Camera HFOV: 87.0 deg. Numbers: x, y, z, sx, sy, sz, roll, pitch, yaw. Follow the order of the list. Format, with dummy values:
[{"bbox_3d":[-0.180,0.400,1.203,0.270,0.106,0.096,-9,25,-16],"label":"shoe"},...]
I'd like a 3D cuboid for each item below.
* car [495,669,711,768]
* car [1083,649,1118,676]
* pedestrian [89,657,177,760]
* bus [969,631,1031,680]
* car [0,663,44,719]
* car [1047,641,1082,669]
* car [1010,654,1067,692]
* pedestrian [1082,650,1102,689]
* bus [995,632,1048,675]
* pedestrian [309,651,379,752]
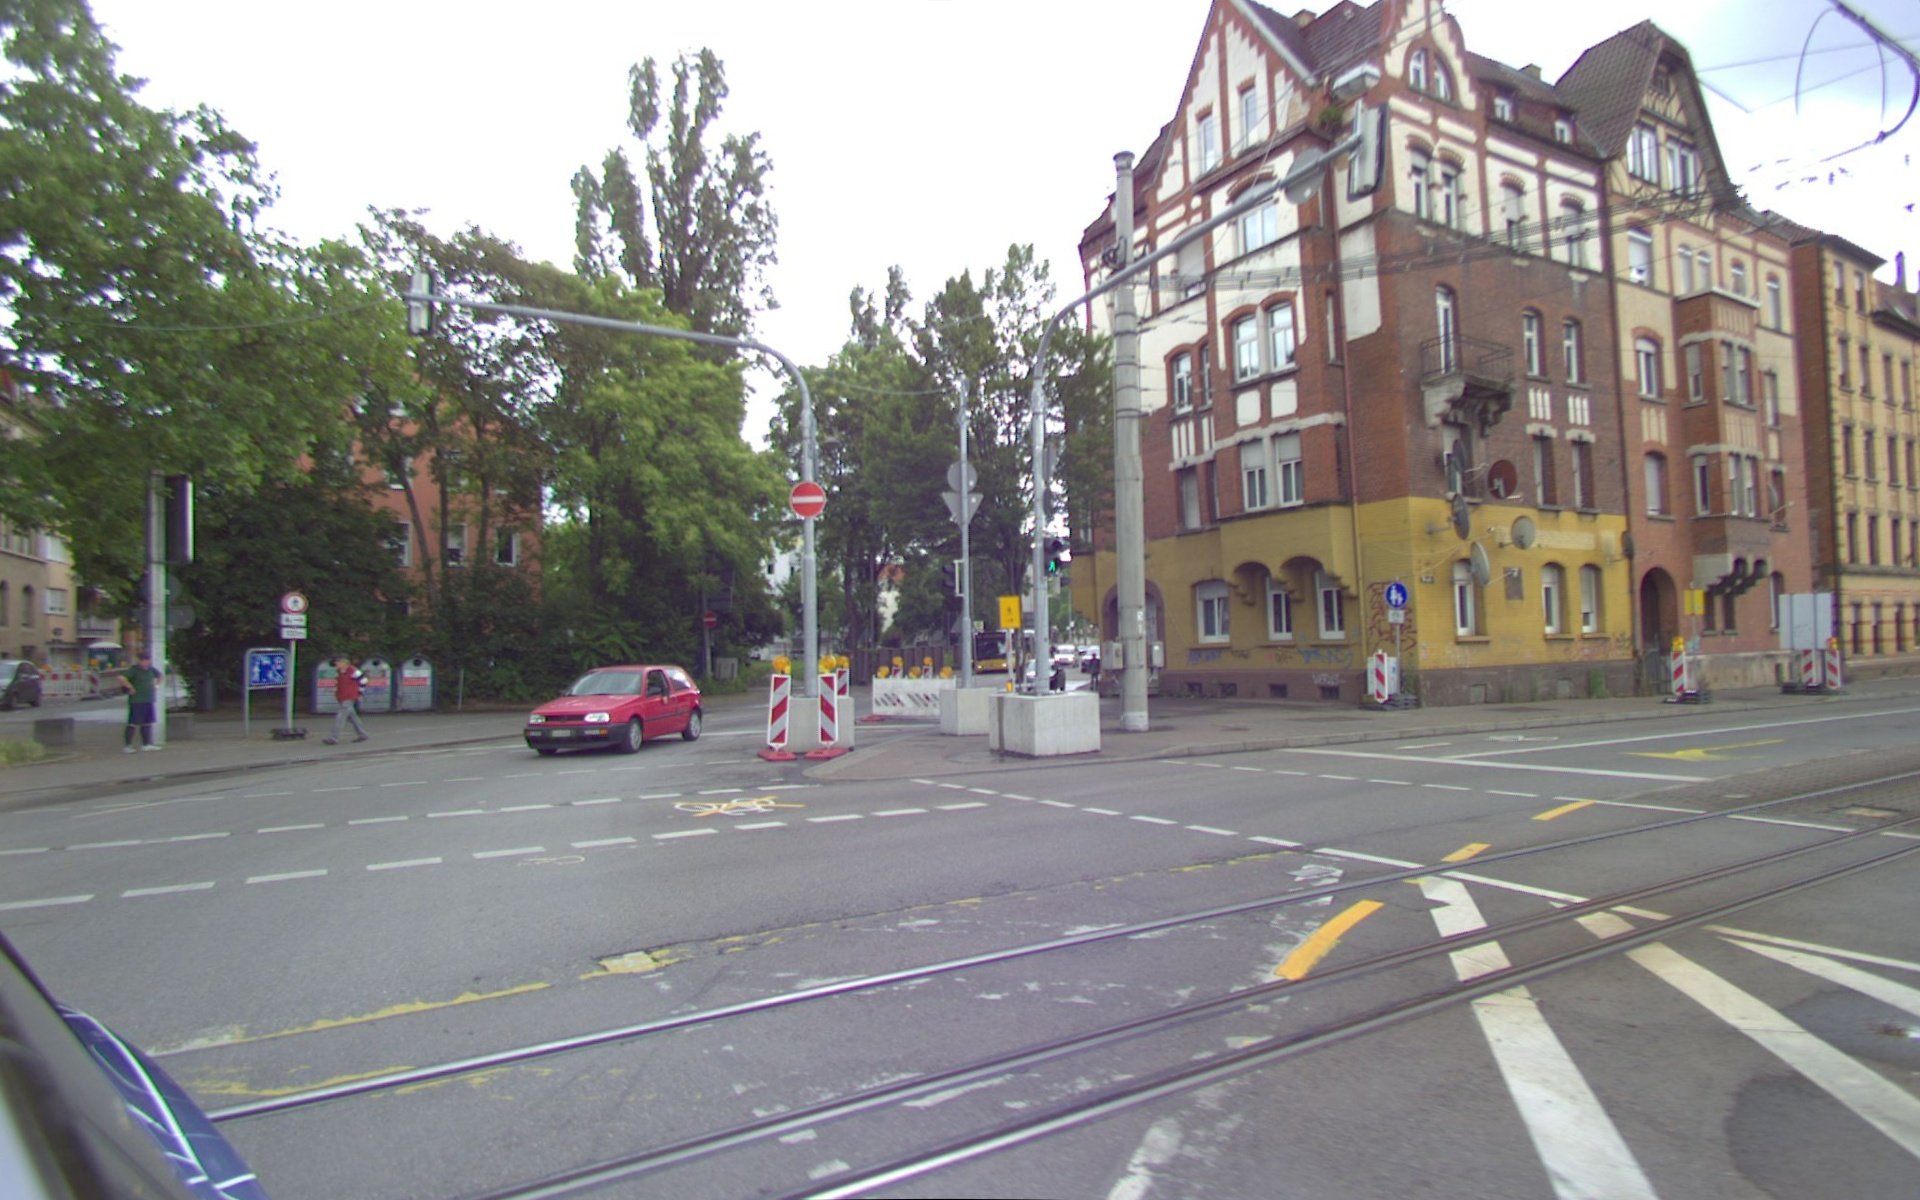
[{"bbox_3d":[-5.958,1.949,17.488,1.830,1.433,4.162,-1,-3,8],"label":"car"},{"bbox_3d":[9.696,4.255,69.529,1.940,1.747,4.754,-2,-3,12],"label":"car"},{"bbox_3d":[-14.122,1.829,17.306,0.724,1.710,0.836,0,-3,5],"label":"pedestrian"},{"bbox_3d":[3.036,3.988,73.275,2.654,3.162,9.178,-4,-3,13],"label":"bus"},{"bbox_3d":[-31.243,2.923,32.679,1.593,1.602,4.012,1,-2,-29],"label":"car"},{"bbox_3d":[8.527,4.474,82.531,2.055,1.798,4.436,-4,0,15],"label":"car"},{"bbox_3d":[3.409,3.157,43.416,1.714,1.497,4.369,-3,-5,14],"label":"car"},{"bbox_3d":[5.555,2.927,42.627,0.655,1.622,0.629,-4,-4,13],"label":"pedestrian"},{"bbox_3d":[5.143,4.357,82.637,2.645,3.160,9.997,-4,-3,13],"label":"bus"},{"bbox_3d":[-11.674,1.902,19.186,0.774,1.845,0.724,1,-3,14],"label":"pedestrian"}]
